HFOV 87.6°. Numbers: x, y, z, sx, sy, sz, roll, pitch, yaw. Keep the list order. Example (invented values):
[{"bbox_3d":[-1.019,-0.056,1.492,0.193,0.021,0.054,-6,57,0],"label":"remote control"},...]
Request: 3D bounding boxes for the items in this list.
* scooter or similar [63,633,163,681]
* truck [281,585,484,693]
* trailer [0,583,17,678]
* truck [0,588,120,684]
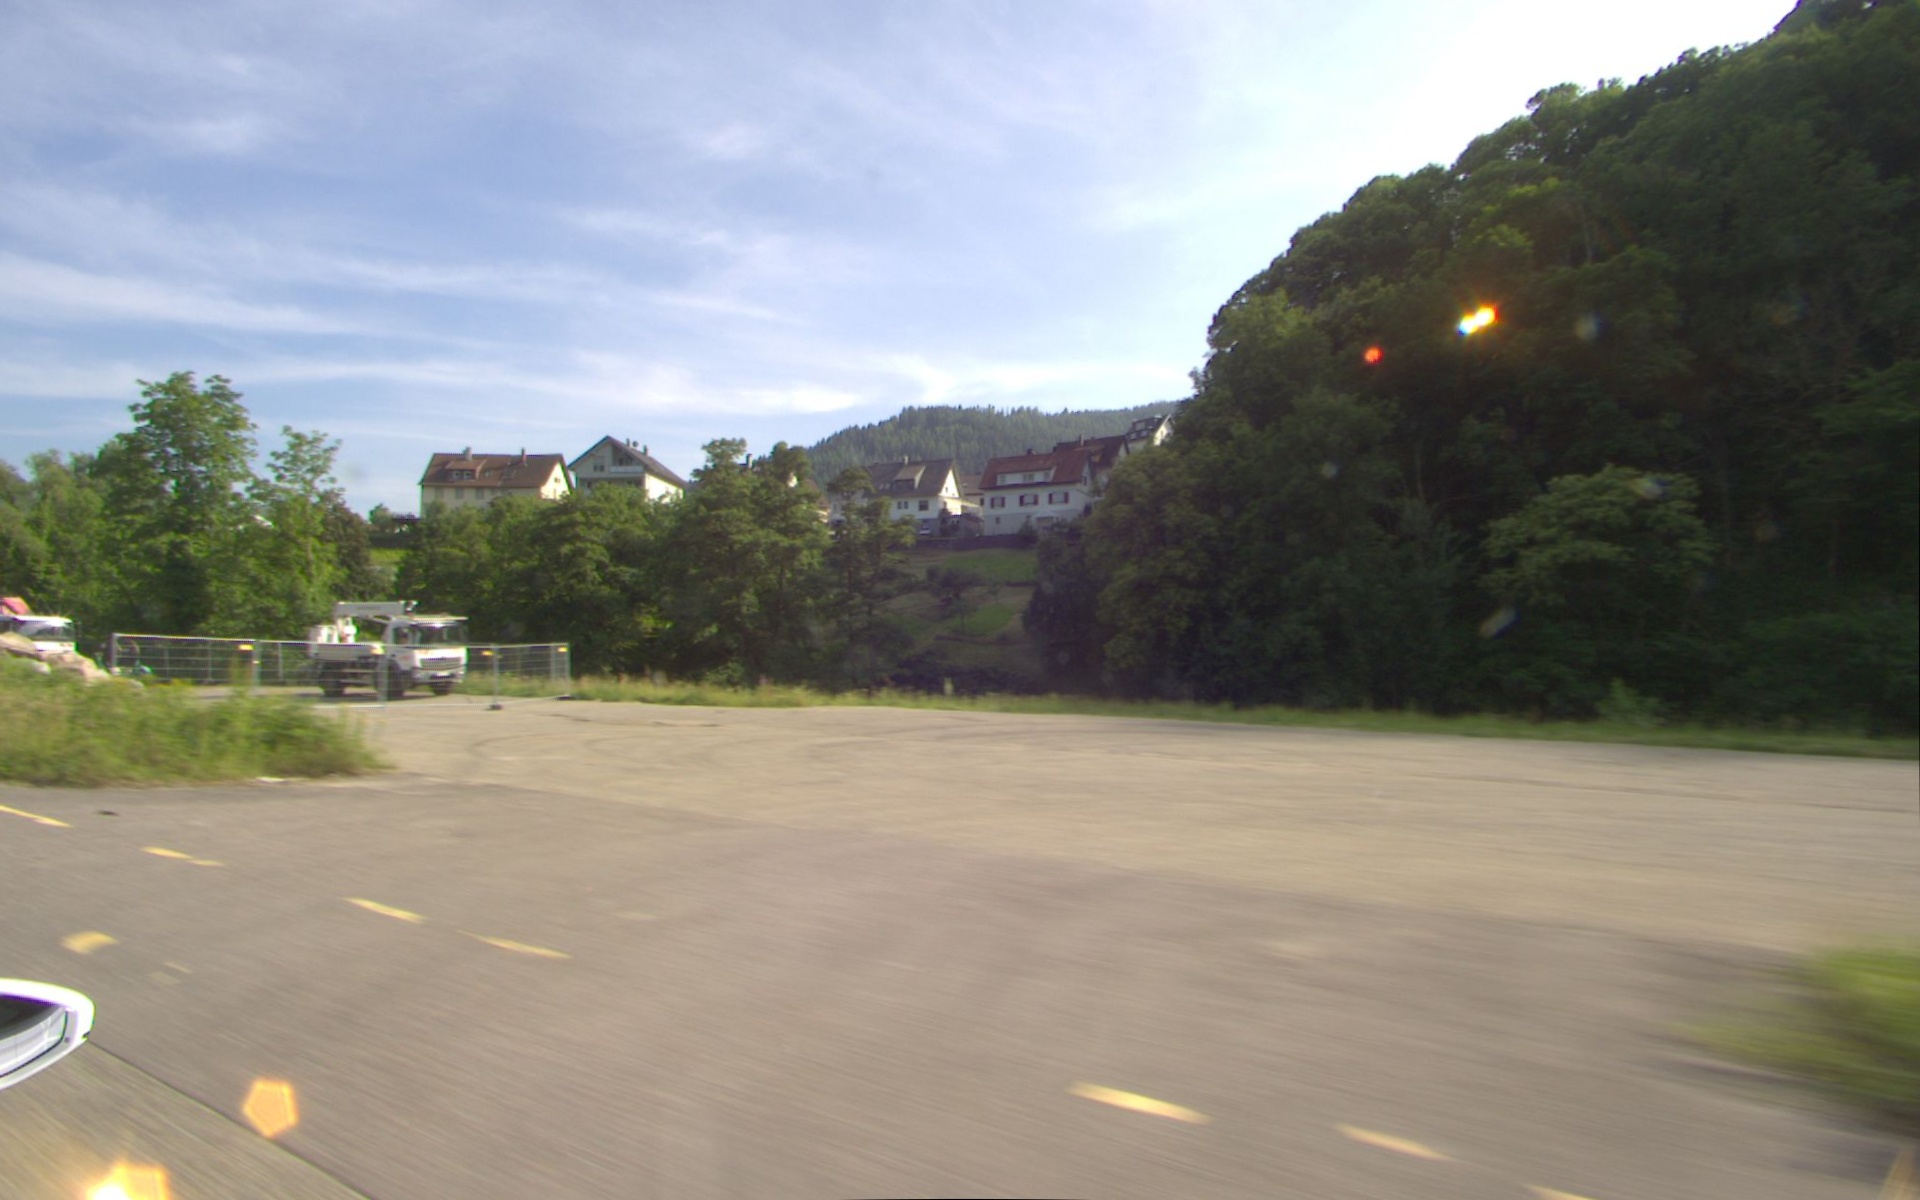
[{"bbox_3d":[-38.033,2.530,44.952,3.935,2.039,1.994,0,-1,26],"label":"scooter or similar"},{"bbox_3d":[-22.733,1.544,39.285,8.519,3.828,3.101,-1,-4,32],"label":"truck"},{"bbox_3d":[-48.684,1.395,46.465,9.742,4.326,3.370,-1,-3,23],"label":"trailer"},{"bbox_3d":[-40.350,1.544,42.809,8.498,3.828,3.108,0,-3,23],"label":"truck"}]
